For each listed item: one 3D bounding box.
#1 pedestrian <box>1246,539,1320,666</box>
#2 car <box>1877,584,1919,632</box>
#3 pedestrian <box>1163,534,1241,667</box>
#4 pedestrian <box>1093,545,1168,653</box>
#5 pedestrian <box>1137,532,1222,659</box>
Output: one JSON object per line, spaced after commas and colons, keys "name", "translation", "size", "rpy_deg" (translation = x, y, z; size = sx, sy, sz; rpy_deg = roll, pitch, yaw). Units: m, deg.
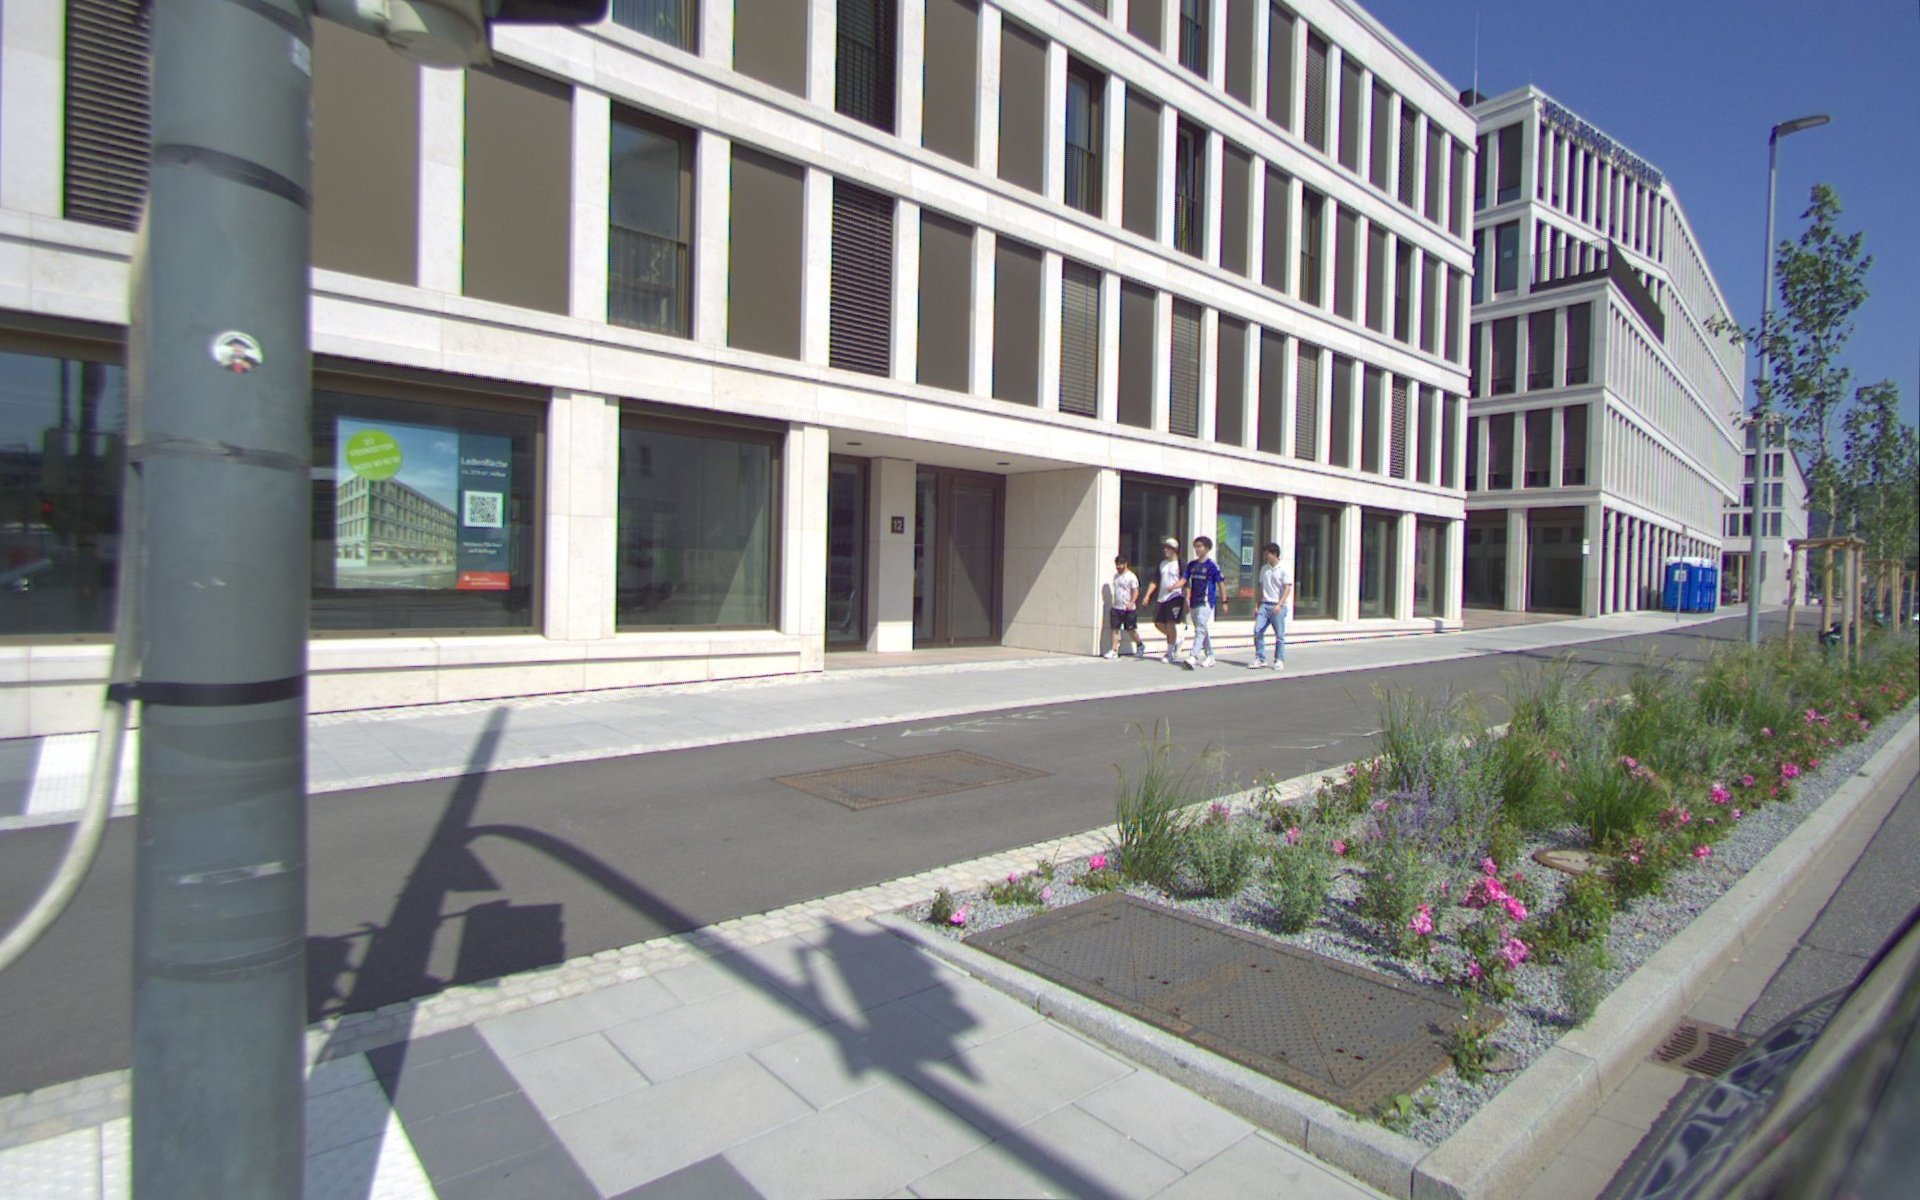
{"name": "pedestrian", "translation": [4.608, 0.018, 14.417], "size": [0.980, 1.741, 0.578], "rpy_deg": [-1, 2, -43]}
{"name": "car", "translation": [32.696, 0.246, 34.464], "size": [3.932, 1.527, 1.808], "rpy_deg": [-1, 2, -43]}
{"name": "pedestrian", "translation": [3.355, -0.014, 13.995], "size": [0.980, 1.761, 0.578], "rpy_deg": [-1, 3, -43]}
{"name": "pedestrian", "translation": [2.587, -0.035, 15.375], "size": [0.828, 1.585, 0.769], "rpy_deg": [-1, 3, -42]}
{"name": "pedestrian", "translation": [3.232, -0.088, 14.926], "size": [0.911, 1.805, 0.825], "rpy_deg": [-1, 3, -42]}
